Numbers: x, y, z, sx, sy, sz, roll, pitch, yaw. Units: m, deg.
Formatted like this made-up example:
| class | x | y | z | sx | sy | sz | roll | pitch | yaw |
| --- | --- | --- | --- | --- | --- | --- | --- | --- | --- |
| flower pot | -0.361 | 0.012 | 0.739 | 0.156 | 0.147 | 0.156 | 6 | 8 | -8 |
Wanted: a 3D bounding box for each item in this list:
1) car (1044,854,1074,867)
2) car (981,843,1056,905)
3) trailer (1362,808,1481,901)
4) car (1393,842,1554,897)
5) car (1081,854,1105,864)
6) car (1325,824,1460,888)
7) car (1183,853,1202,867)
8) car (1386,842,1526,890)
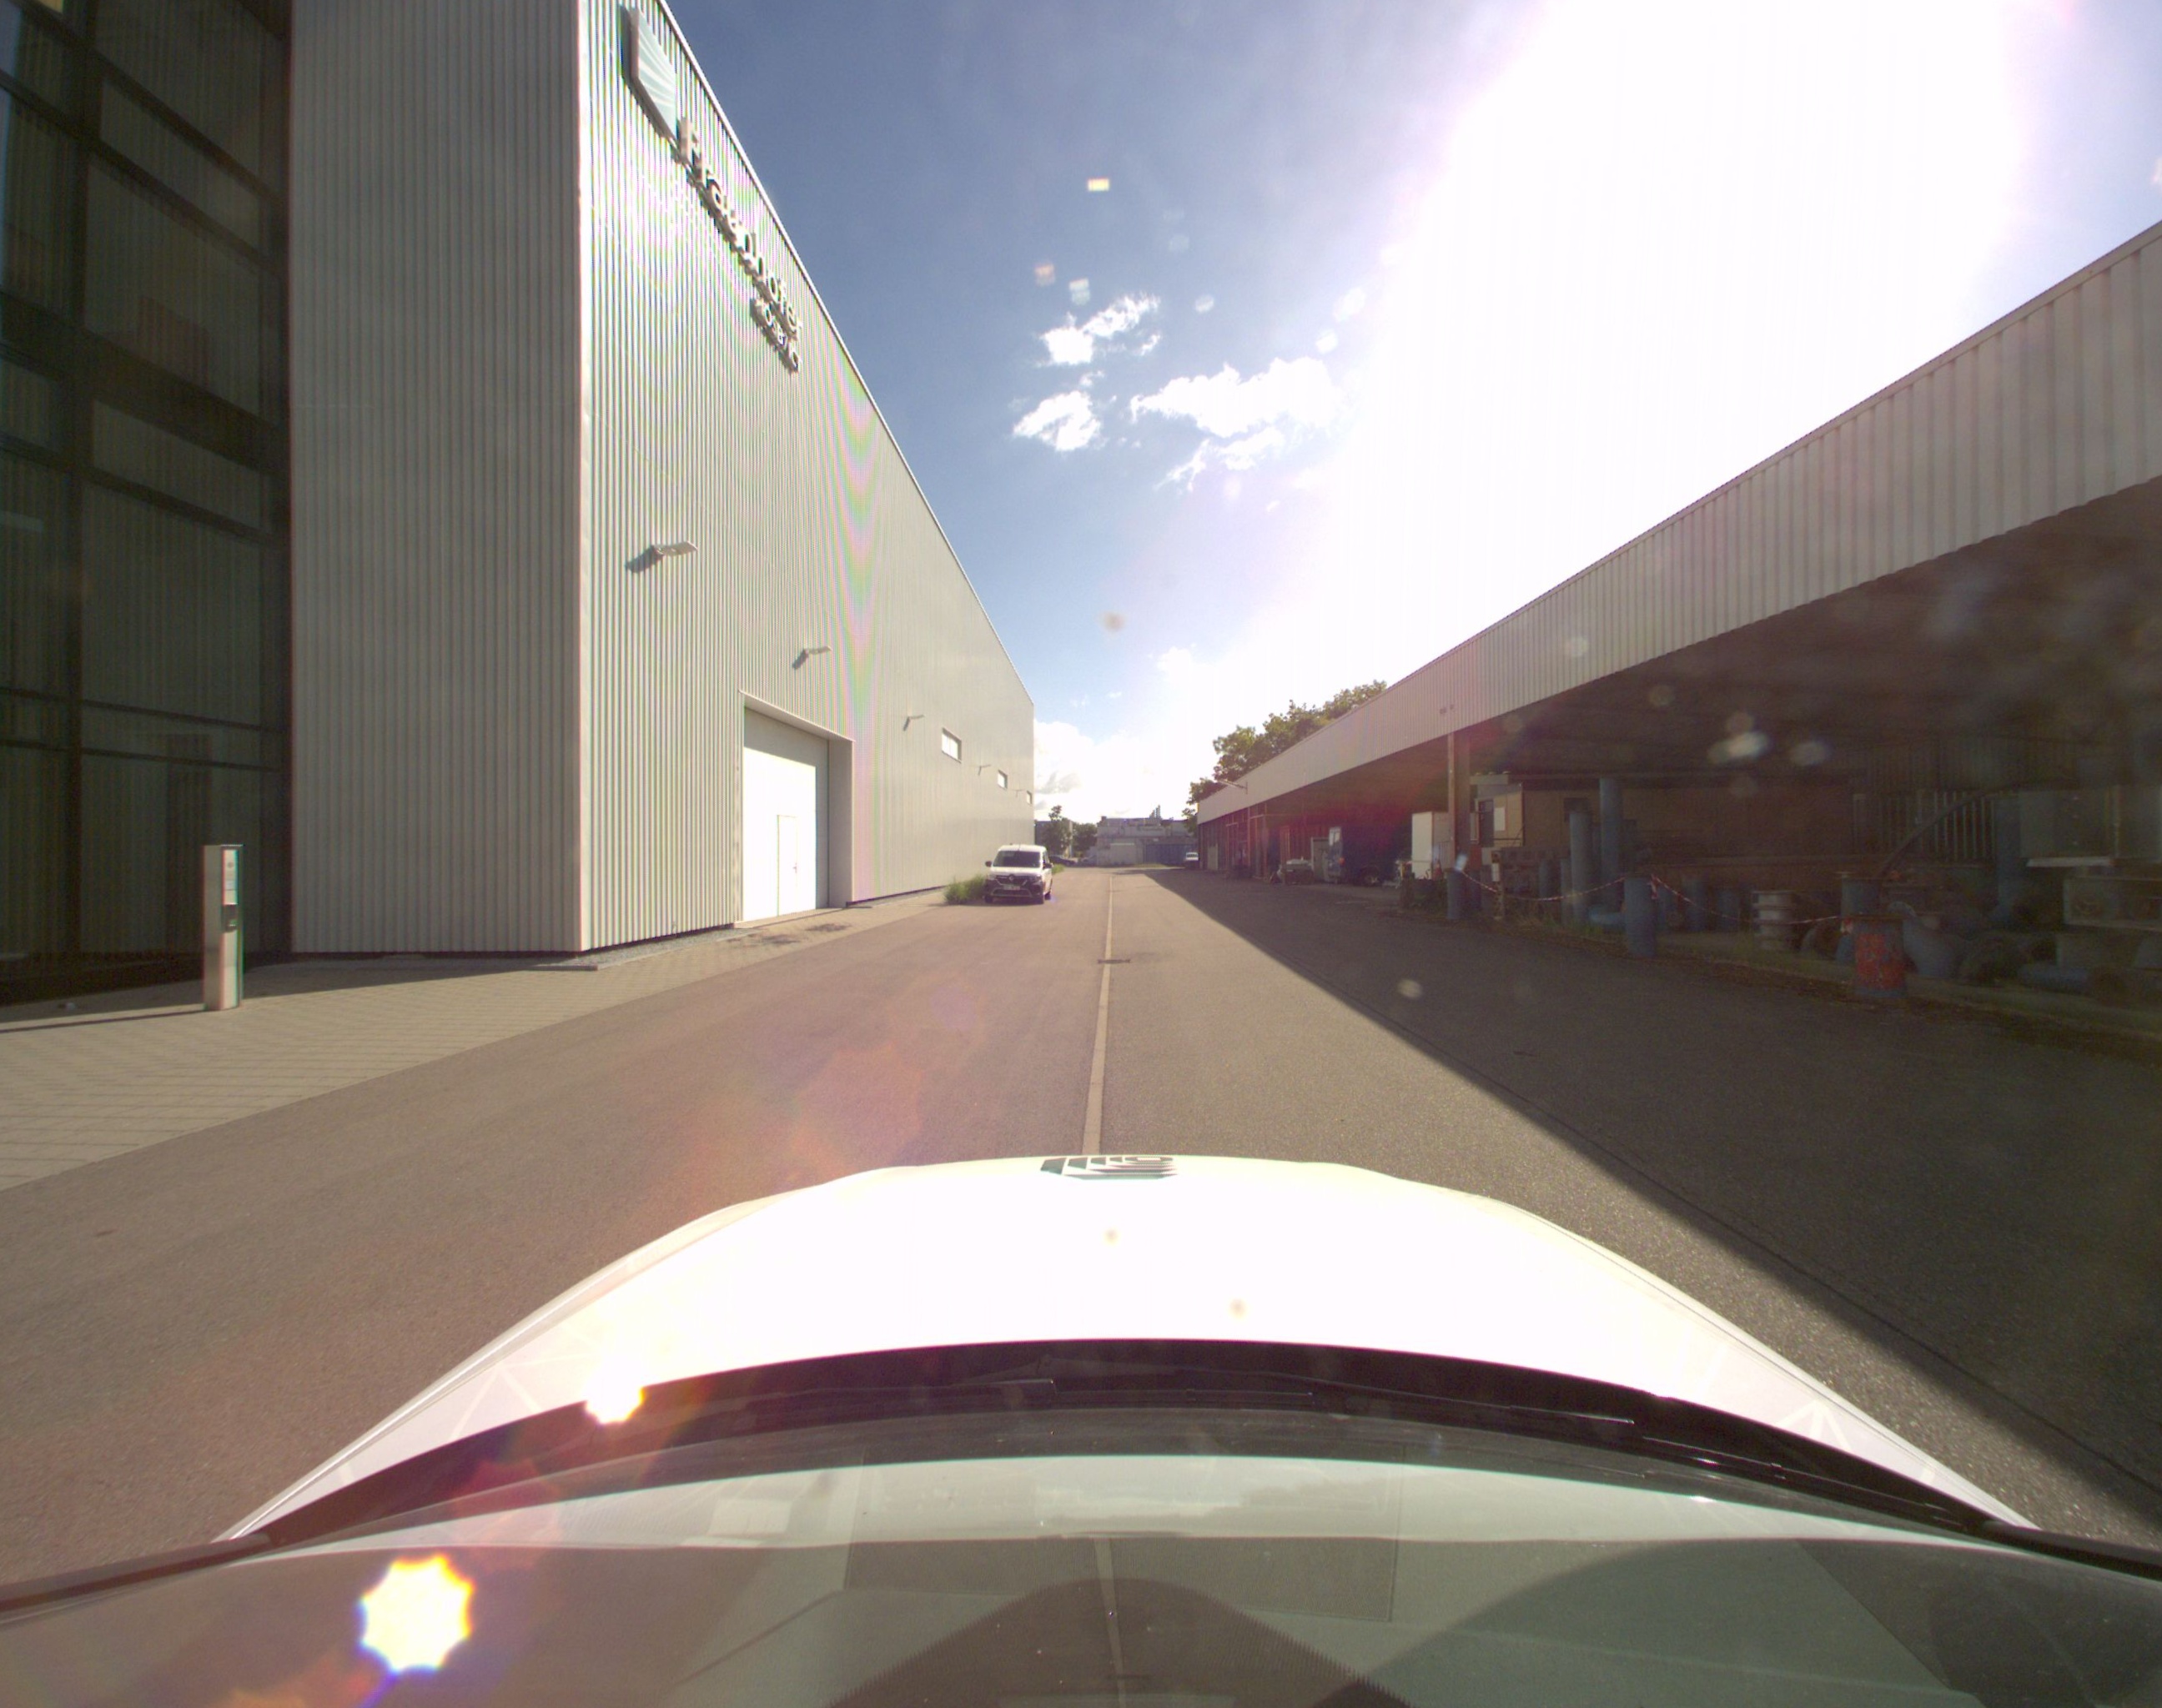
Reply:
| class | x | y | z | sx | sy | sz | roll | pitch | yaw |
| --- | --- | --- | --- | --- | --- | --- | --- | --- | --- |
| car | -2.906 | 0.896 | 108.243 | 3.973 | 1.598 | 1.741 | 1 | -2 | 1 |
| car | -1.898 | 0.570 | 25.923 | 1.811 | 1.787 | 4.408 | 1 | 0 | 3 |
| trailer | 9.192 | 0.018 | 22.146 | 2.513 | 2.399 | 1.728 | -1 | -1 | 3 |
| car | 11.638 | 0.486 | 24.341 | 4.021 | 1.525 | 1.685 | 1 | -2 | 3 |
| car | 2.017 | 0.812 | 136.009 | 3.973 | 1.598 | 1.848 | 1 | -2 | 1 |
| car | 11.711 | 0.107 | 30.868 | 4.414 | 2.310 | 1.917 | 1 | -2 | 3 |
| car | 13.030 | 0.647 | 95.360 | 1.953 | 1.564 | 4.063 | 1 | 0 | 4 |
| car | 12.695 | 0.426 | 27.738 | 4.021 | 1.525 | 1.685 | 1 | -2 | 3 |
